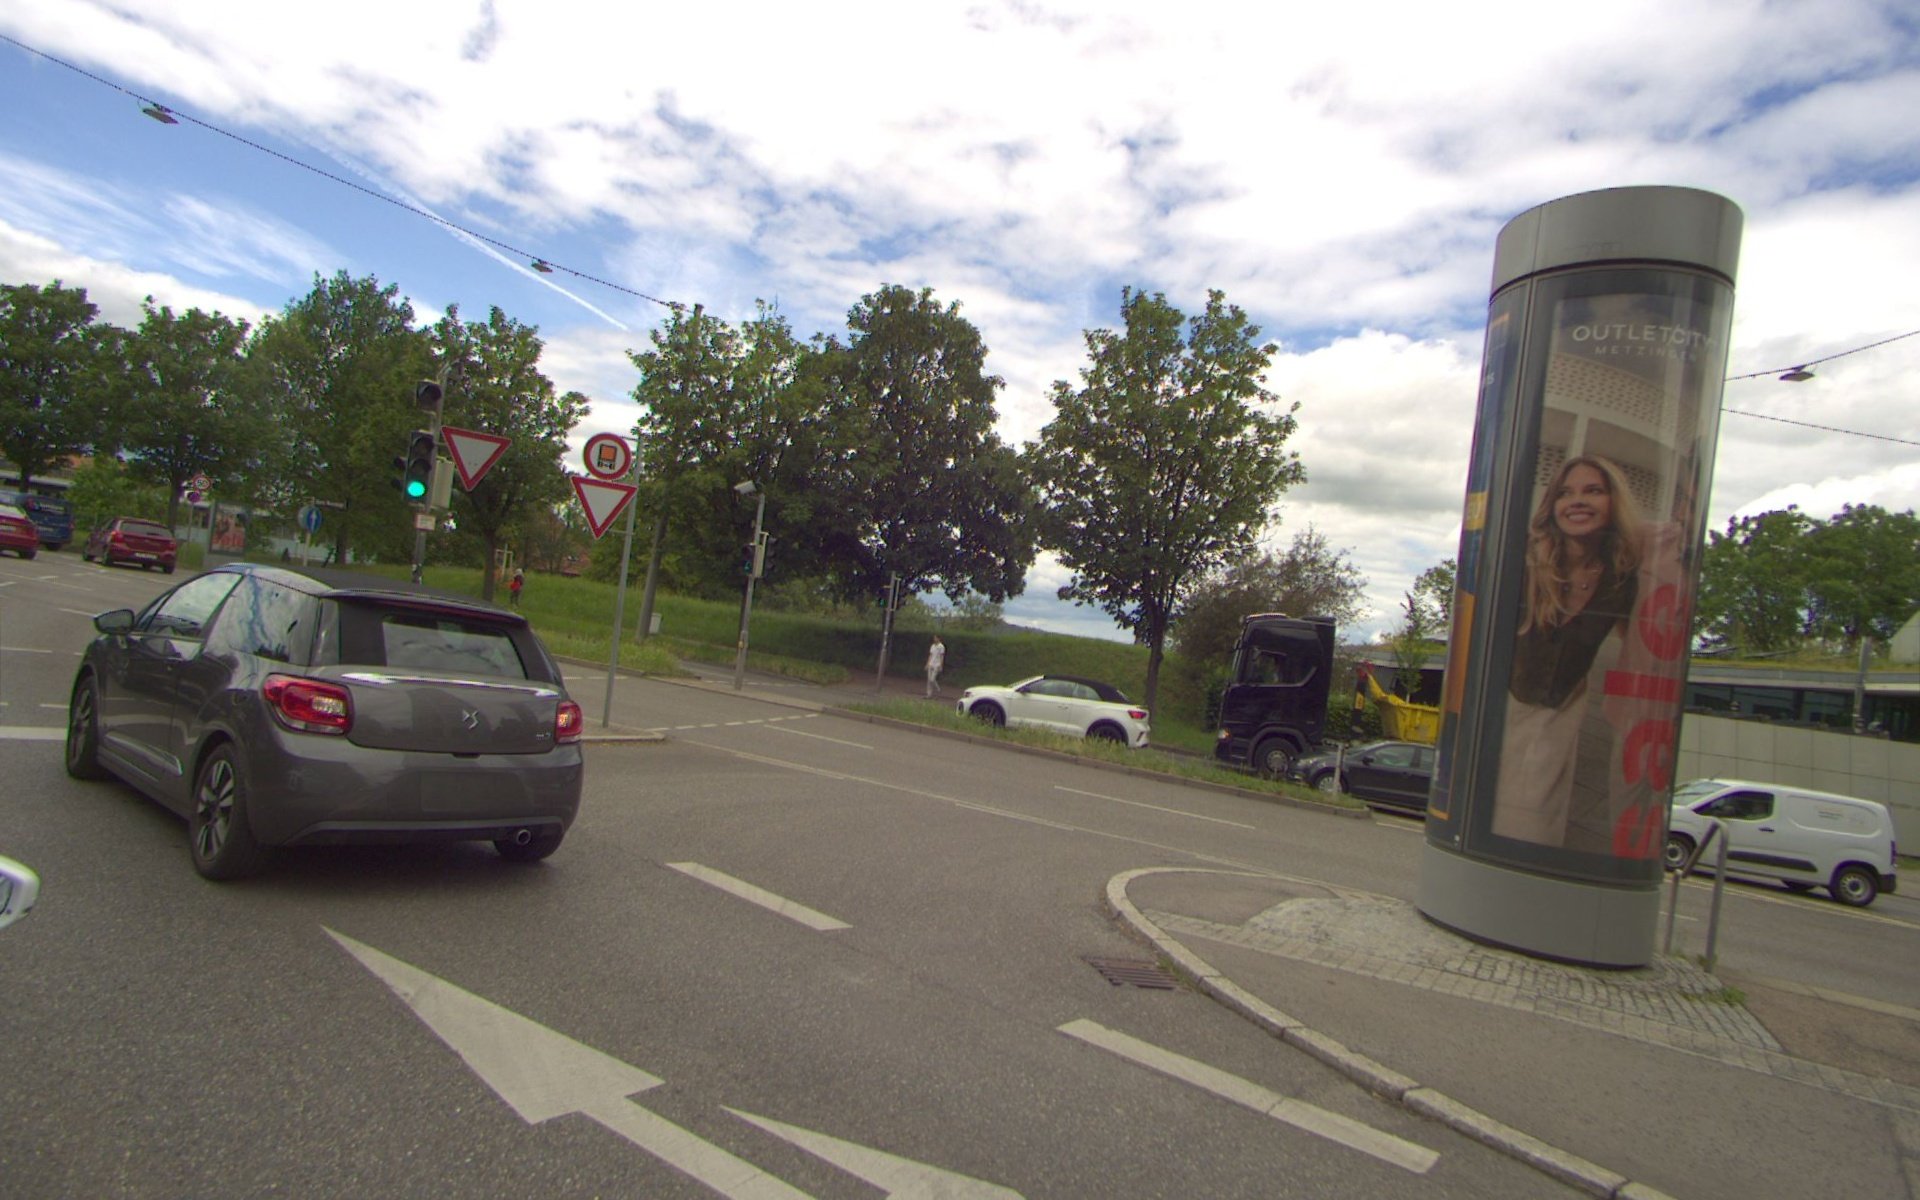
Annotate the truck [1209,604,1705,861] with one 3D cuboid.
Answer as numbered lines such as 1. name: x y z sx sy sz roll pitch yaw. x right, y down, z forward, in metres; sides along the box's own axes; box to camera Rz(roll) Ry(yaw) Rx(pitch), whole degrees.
1. truck: 10.644 2.788 22.784 9.278 3.969 2.833 8 -2 15

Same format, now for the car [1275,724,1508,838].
1. car: 8.388 3.500 19.902 3.903 1.389 1.656 9 -2 16

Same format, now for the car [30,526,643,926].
1. car: -3.888 0.529 6.004 4.002 1.477 1.702 6 -3 38

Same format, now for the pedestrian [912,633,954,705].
1. pedestrian: -0.772 1.991 29.001 0.579 1.941 0.754 10 1 38

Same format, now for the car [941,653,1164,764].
1. car: 2.044 2.317 21.853 4.403 1.546 1.859 9 -2 16

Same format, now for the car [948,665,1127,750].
1. car: 2.010 2.696 25.632 4.080 1.458 1.993 8 -3 16

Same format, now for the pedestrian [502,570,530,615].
1. pedestrian: -16.959 -0.291 38.423 0.689 1.626 0.542 8 4 17

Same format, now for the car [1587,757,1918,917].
1. car: 14.142 4.189 18.227 4.206 1.816 1.758 9 -2 13

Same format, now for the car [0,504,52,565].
1. car: -26.548 -1.948 27.373 4.376 1.434 1.875 6 -3 38

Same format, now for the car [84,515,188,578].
1. car: -25.388 -1.668 30.968 3.666 1.497 1.744 6 -3 41

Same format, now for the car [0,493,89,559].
1. car: -33.612 -2.769 35.762 4.622 1.879 1.910 7 -2 21
